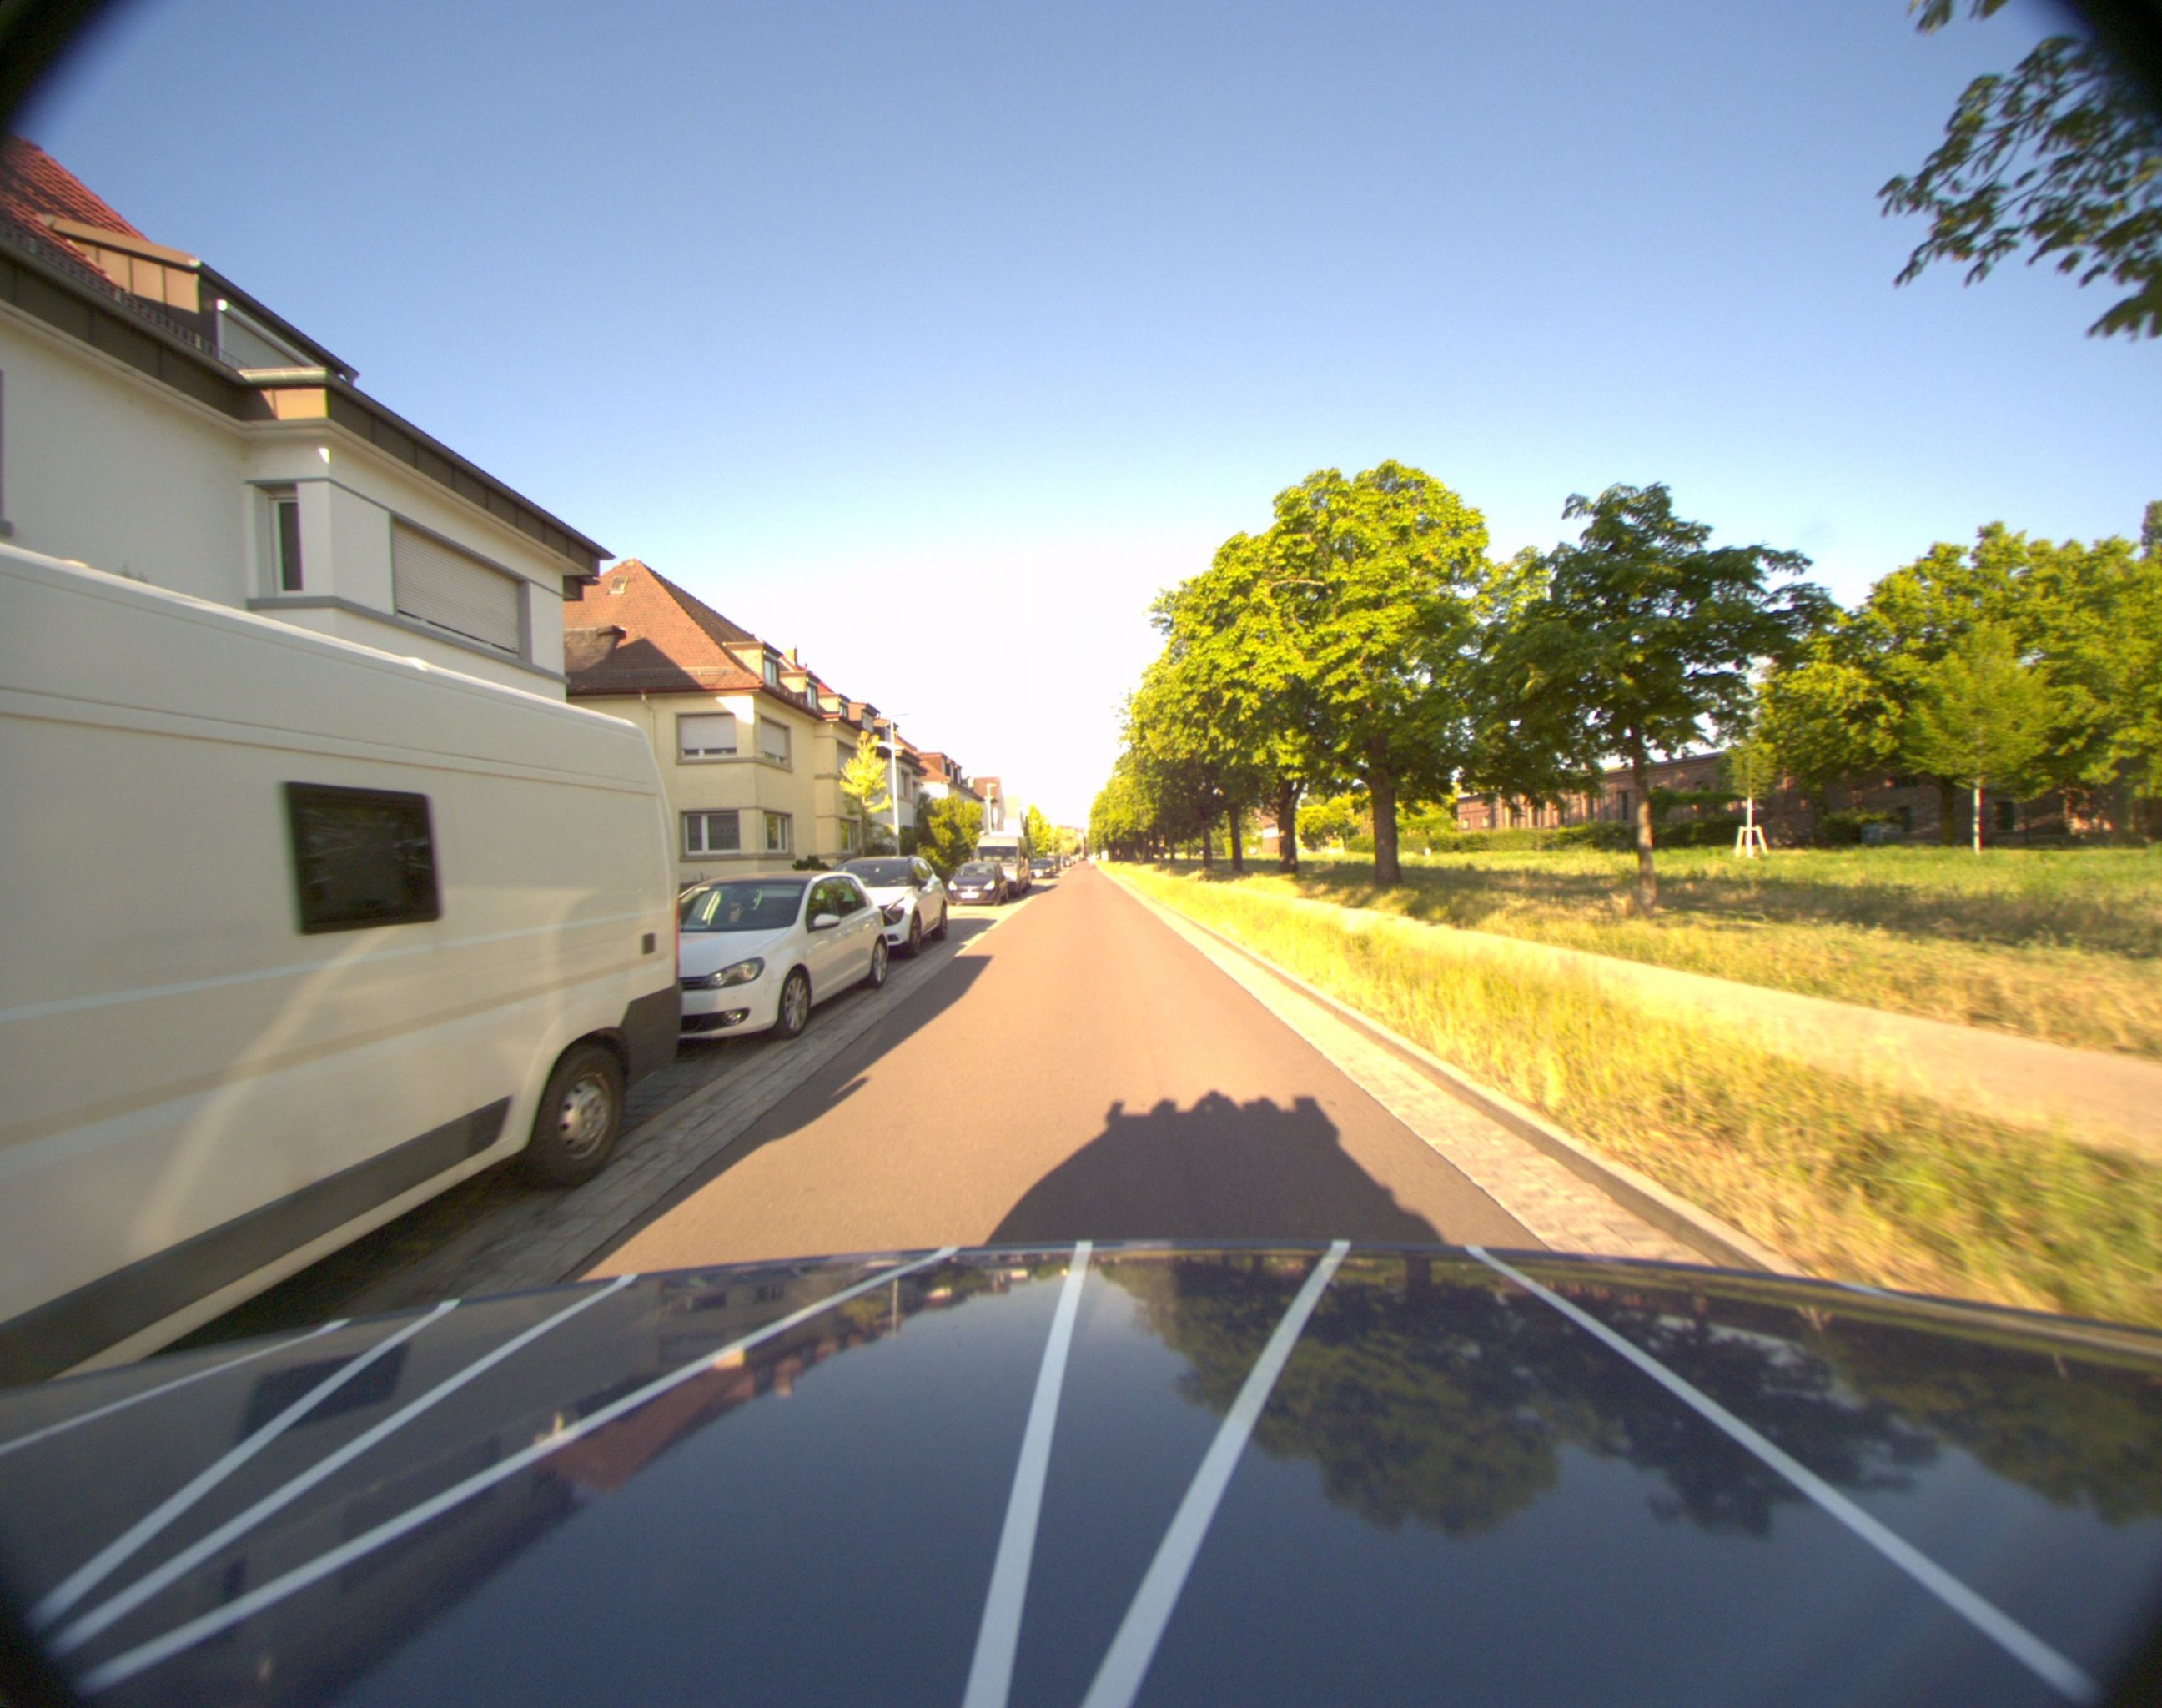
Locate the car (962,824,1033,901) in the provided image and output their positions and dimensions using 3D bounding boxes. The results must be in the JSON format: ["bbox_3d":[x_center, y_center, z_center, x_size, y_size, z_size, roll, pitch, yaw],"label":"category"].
[{"bbox_3d":[-3.391,0.309,32.232,2.134,2.837,5.986,-3,0,1],"label":"car"}]

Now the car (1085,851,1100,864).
[{"bbox_3d":[1.614,0.477,105.785,1.974,1.630,4.000,-1,0,1],"label":"car"}]

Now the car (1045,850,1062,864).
[{"bbox_3d":[-3.533,0.372,99.037,1.974,1.630,4.000,-3,0,1],"label":"car"}]

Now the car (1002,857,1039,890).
[{"bbox_3d":[-3.038,0.944,38.483,1.467,1.490,3.357,-2,0,2],"label":"car"}]

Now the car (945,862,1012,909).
[{"bbox_3d":[-3.455,1.032,26.211,1.629,1.431,4.004,0,0,2],"label":"car"}]

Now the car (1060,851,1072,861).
[{"bbox_3d":[-2.735,0.359,136.461,1.974,1.630,4.000,-3,0,1],"label":"car"}]

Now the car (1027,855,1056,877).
[{"bbox_3d":[-3.003,0.901,58.842,1.974,1.630,4.000,-1,0,1],"label":"car"}]

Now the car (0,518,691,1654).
[{"bbox_3d":[-3.476,0.537,1.884,2.135,2.503,5.507,-3,0,-1],"label":"car"}]

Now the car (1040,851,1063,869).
[{"bbox_3d":[-2.934,0.561,76.648,1.974,1.630,4.000,-3,0,1],"label":"car"}]

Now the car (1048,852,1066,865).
[{"bbox_3d":[-2.939,0.528,93.067,1.974,1.630,4.000,-1,0,1],"label":"car"}]

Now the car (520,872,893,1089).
[{"bbox_3d":[-3.323,1.006,7.754,1.626,1.474,4.108,-2,0,2],"label":"car"}]

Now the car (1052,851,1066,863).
[{"bbox_3d":[-3.449,0.468,120.234,1.974,1.630,4.000,-3,0,1],"label":"car"}]

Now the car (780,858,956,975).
[{"bbox_3d":[-3.498,0.932,13.409,1.782,1.635,4.480,-1,0,0],"label":"car"}]
